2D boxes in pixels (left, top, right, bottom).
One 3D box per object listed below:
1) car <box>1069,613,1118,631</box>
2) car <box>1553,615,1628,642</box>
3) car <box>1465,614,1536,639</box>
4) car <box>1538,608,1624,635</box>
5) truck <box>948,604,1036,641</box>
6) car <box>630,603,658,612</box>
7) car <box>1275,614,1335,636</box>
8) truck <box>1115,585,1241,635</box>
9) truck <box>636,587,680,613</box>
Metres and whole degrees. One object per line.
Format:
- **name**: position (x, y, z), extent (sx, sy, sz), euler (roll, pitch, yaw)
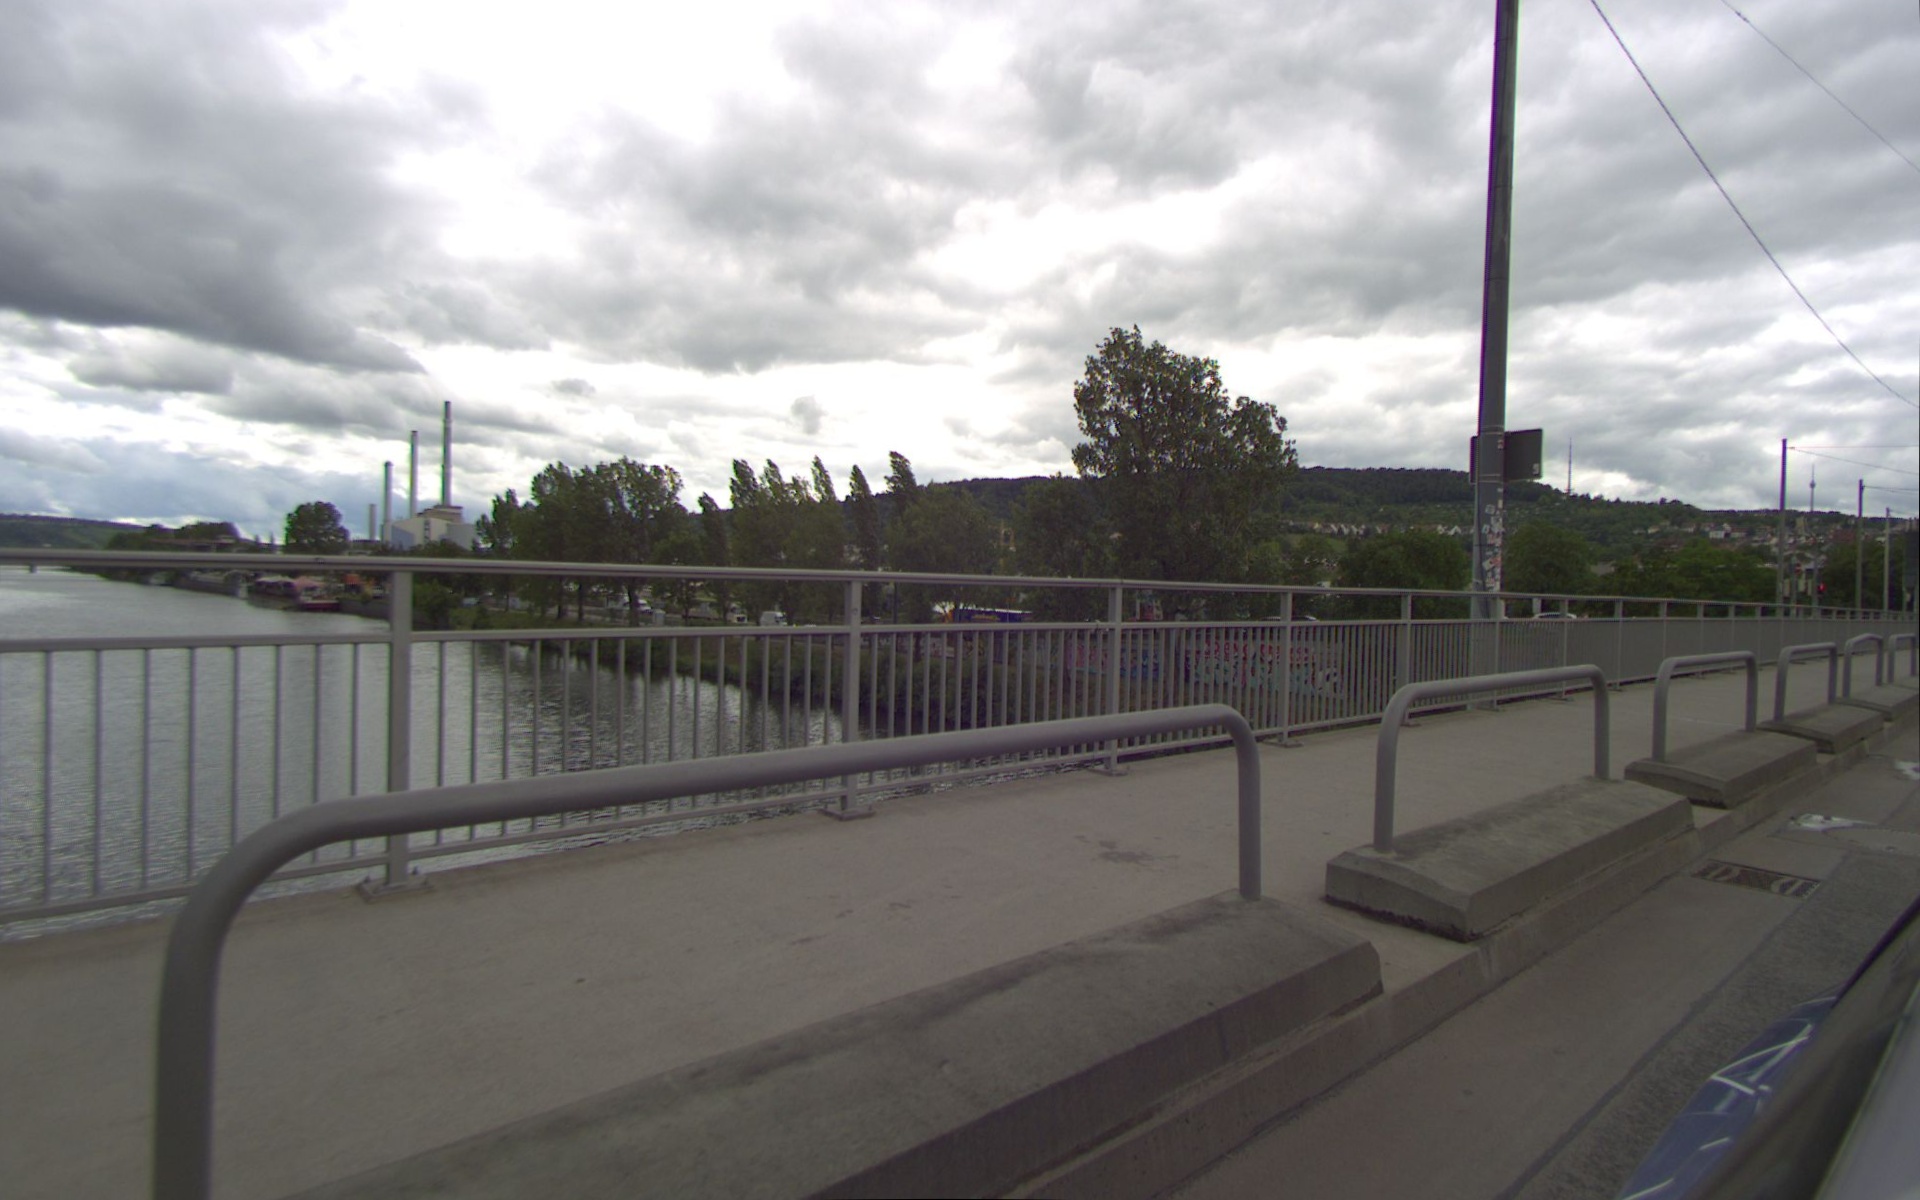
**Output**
- **car**: position (12.430, 2.030, 94.511), extent (1.889, 1.559, 4.383), euler (0, -1, -42)
- **car**: position (38.784, 1.730, 62.330), extent (1.667, 1.559, 3.616), euler (0, -1, -42)
- **car**: position (35.218, 1.705, 66.034), extent (1.667, 1.559, 3.752), euler (0, -1, -42)
- **car**: position (40.064, 1.372, 65.338), extent (1.965, 1.640, 4.335), euler (-1, 0, -41)
- **truck**: position (4.251, 3.012, 142.360), extent (3.322, 3.964, 14.413), euler (1, 3, -41)
- **car**: position (-60.268, 1.425, 193.101), extent (5.994, 1.559, 2.658), euler (-1, -1, 45)
- **car**: position (25.971, 1.872, 76.284), extent (1.667, 1.559, 4.039), euler (0, -1, -42)
- **truck**: position (18.068, 0.752, 84.674), extent (3.173, 3.928, 10.403), euler (1, -1, -43)
- **truck**: position (-64.159, -0.112, 214.599), extent (3.526, 4.540, 13.163), euler (1, 3, -42)
